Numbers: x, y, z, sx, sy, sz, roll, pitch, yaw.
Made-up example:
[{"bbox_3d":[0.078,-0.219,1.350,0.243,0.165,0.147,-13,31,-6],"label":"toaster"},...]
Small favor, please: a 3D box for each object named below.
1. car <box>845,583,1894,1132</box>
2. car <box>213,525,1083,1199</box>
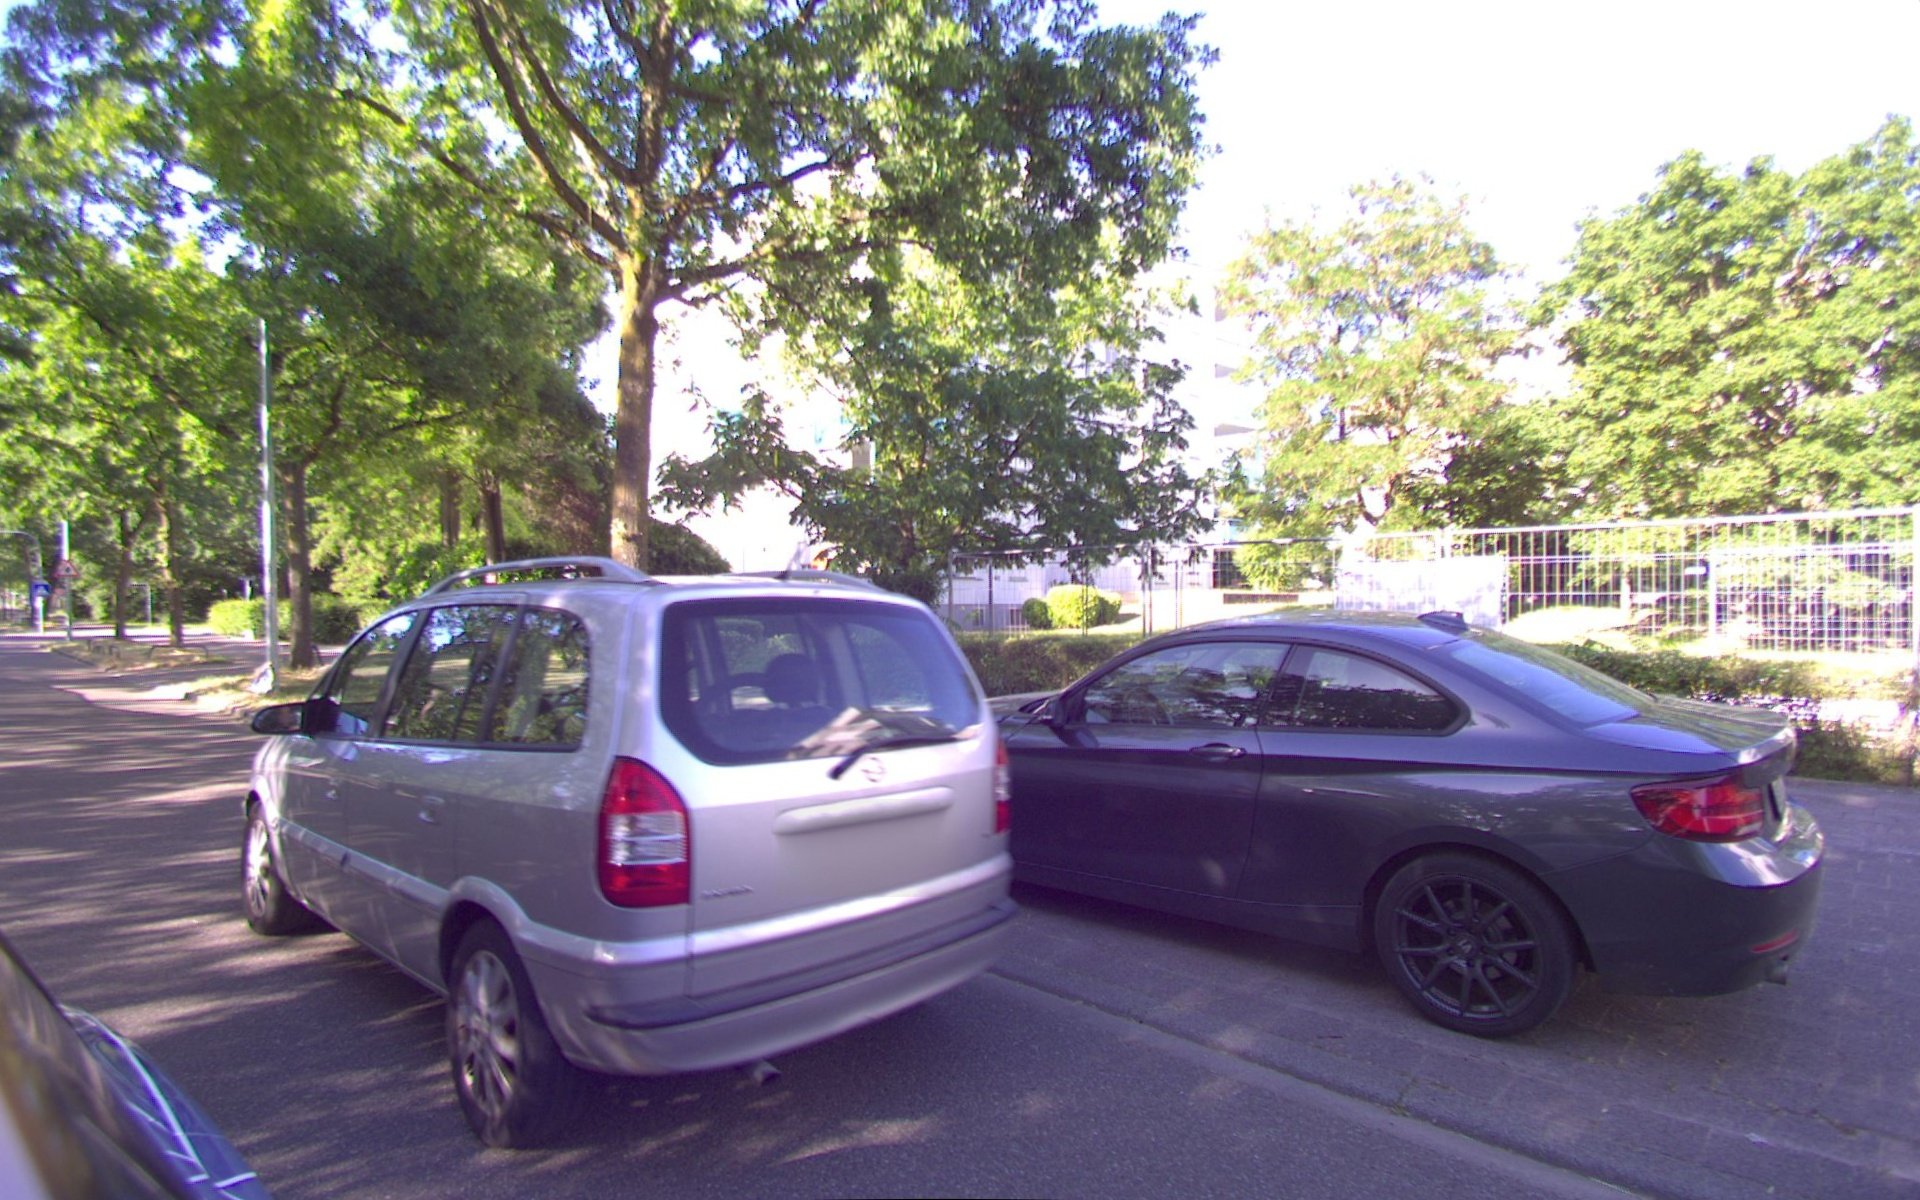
[{"bbox_3d":[1.502,0.709,4.733,4.135,1.443,1.698,-1,1,41],"label":"car"},{"bbox_3d":[-1.606,0.684,4.120,4.009,1.608,1.641,-1,-2,44],"label":"car"}]
